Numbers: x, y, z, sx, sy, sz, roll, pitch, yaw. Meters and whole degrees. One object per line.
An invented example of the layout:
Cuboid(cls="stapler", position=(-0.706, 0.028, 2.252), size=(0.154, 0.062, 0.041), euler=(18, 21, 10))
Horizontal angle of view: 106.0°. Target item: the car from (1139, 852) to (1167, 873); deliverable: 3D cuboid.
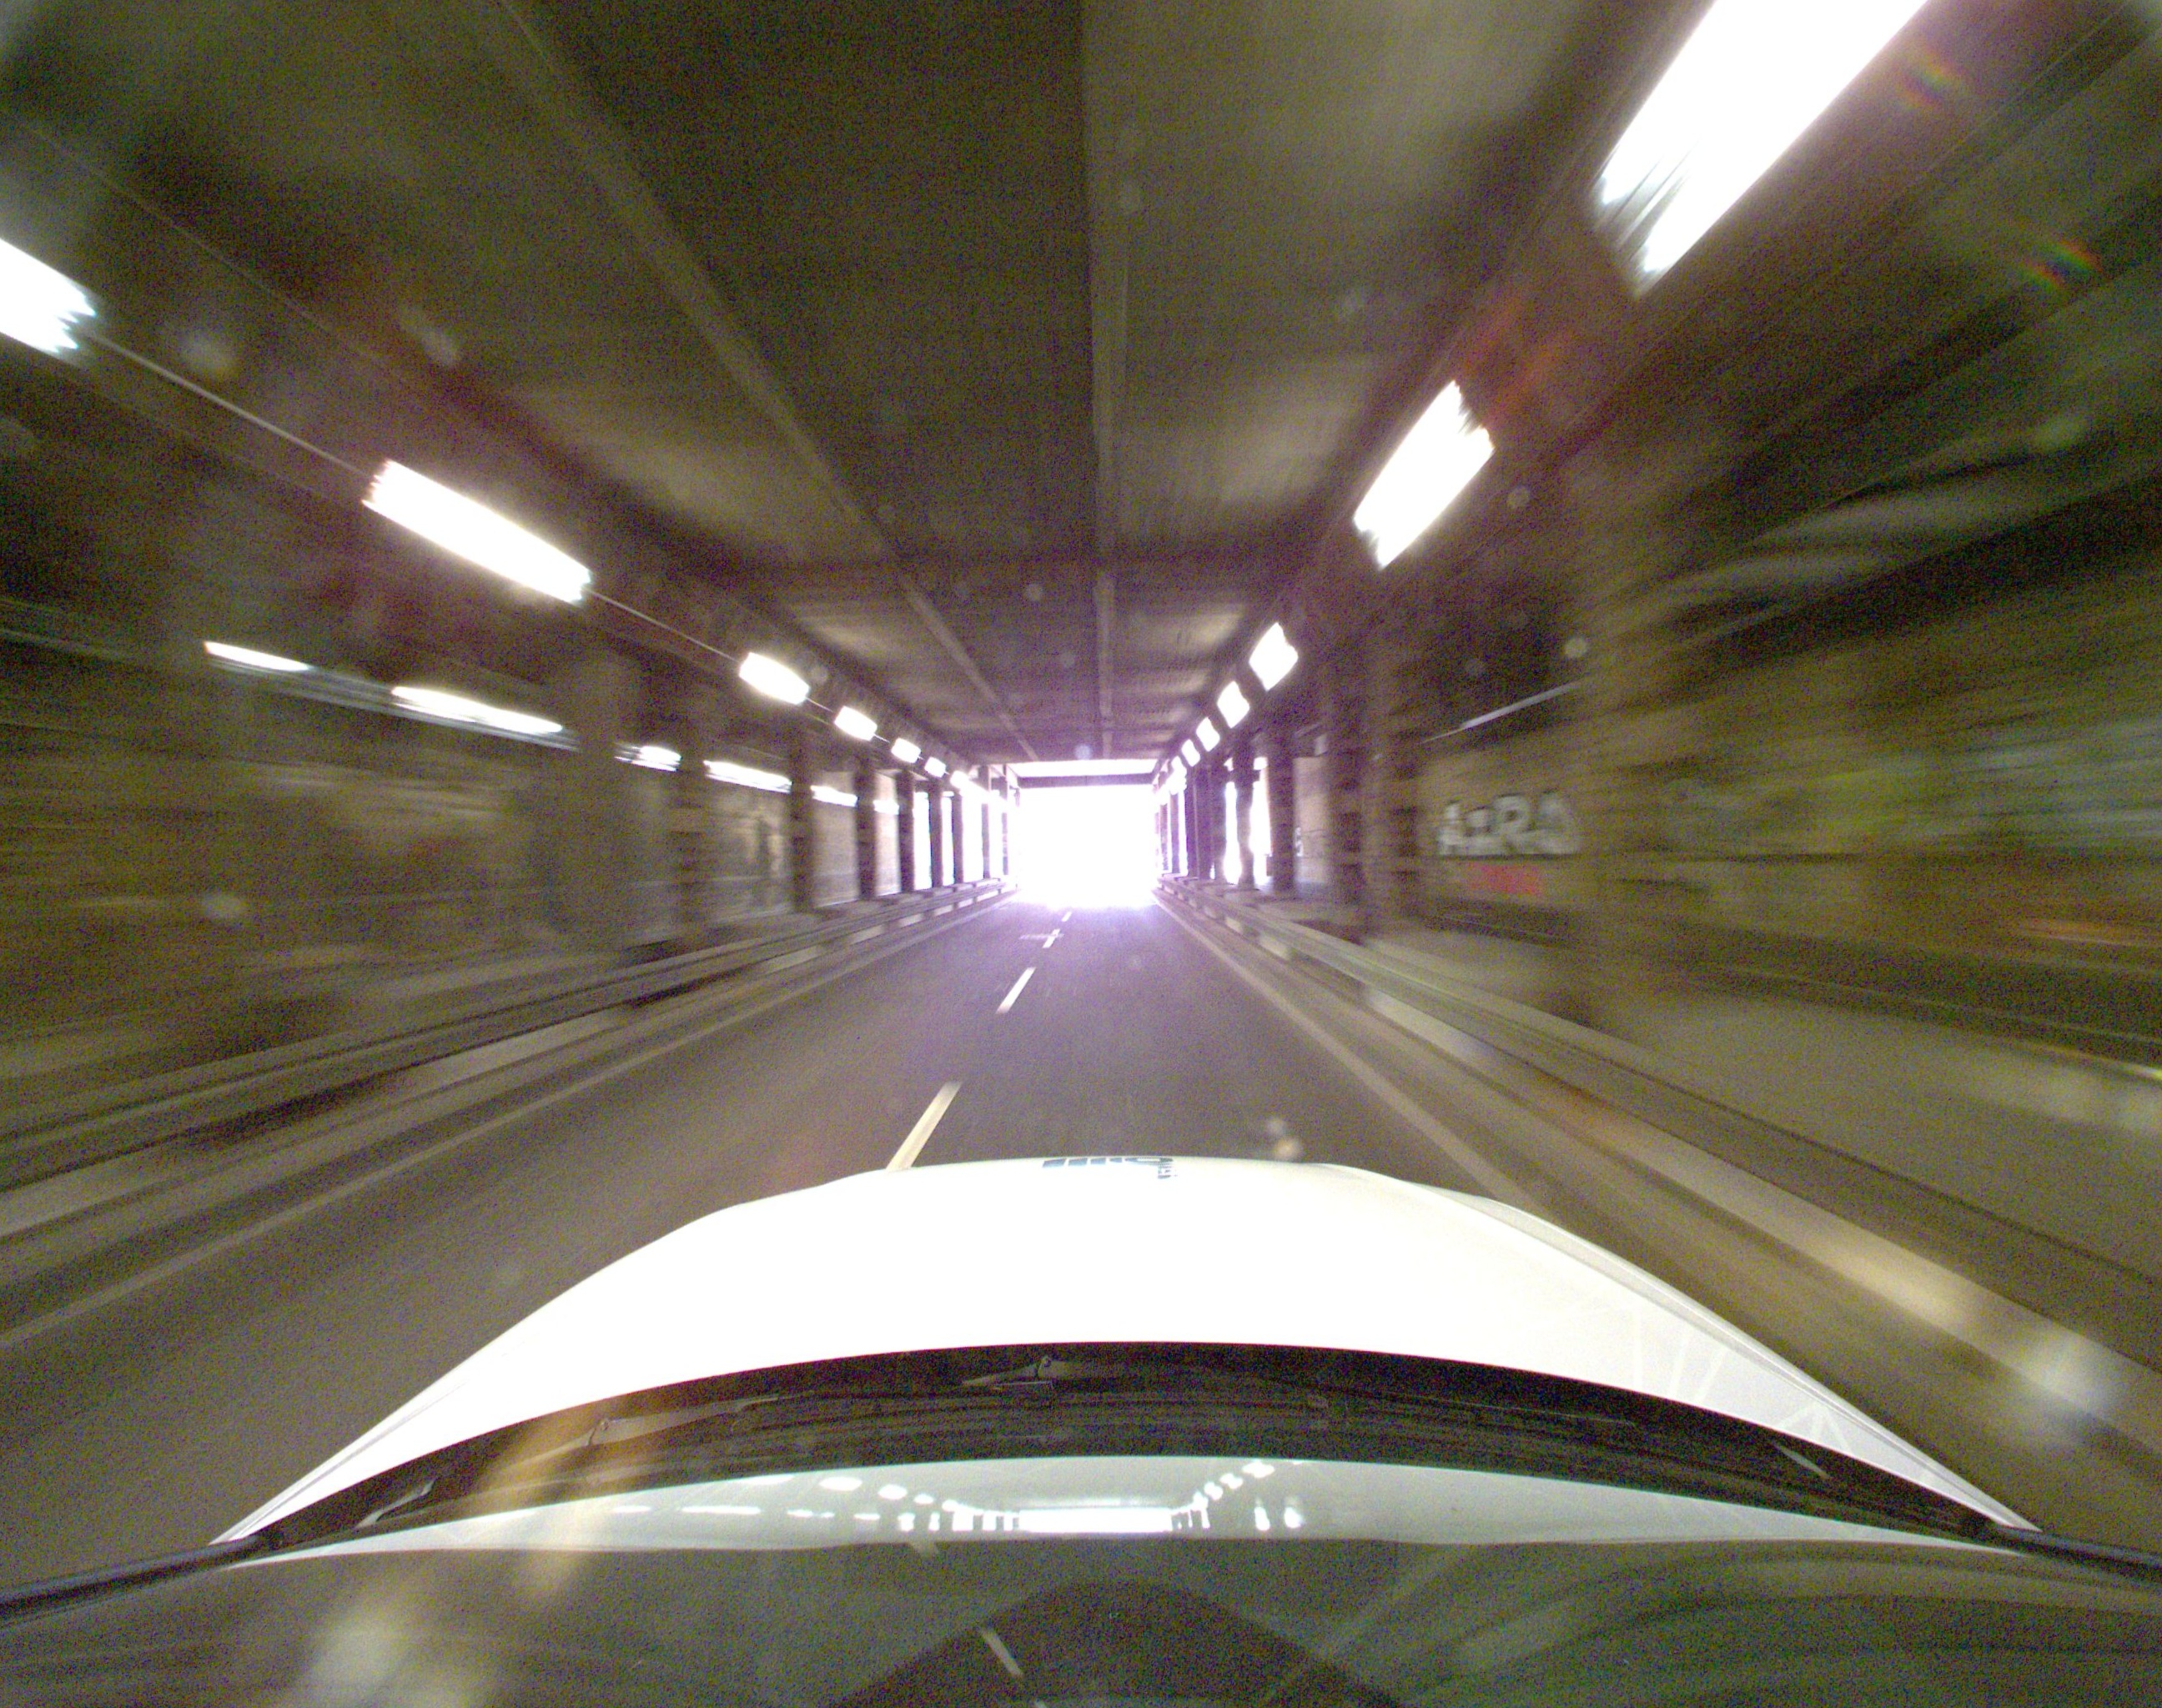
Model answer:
Cuboid(cls="car", position=(5.581, 0.665, 63.569), size=(1.940, 1.528, 4.092), euler=(-2, 0, 2))

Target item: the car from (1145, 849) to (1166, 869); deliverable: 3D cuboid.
Cuboid(cls="car", position=(7.981, 0.523, 87.168), size=(2.161, 2.009, 4.815), euler=(-2, -1, 5))

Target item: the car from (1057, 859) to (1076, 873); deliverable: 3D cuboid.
Cuboid(cls="car", position=(-1.582, 1.304, 90.741), size=(1.745, 1.405, 4.419), euler=(-2, 0, 3))

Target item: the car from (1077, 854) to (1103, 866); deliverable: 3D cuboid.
Cuboid(cls="car", position=(1.297, 0.862, 112.952), size=(1.906, 1.574, 3.904), euler=(-2, 0, 28))

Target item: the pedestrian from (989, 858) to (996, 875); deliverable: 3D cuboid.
Cuboid(cls="pedestrian", position=(-8.734, 1.269, 80.453), size=(0.516, 1.640, 0.620), euler=(-1, -1, -25))

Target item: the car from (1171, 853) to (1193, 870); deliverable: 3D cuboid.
Cuboid(cls="car", position=(9.935, 0.721, 79.967), size=(1.803, 1.582, 4.012), euler=(-2, -1, 10))

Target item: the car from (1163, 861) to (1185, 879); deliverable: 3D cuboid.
Cuboid(cls="car", position=(8.467, 1.427, 74.150), size=(1.720, 1.500, 4.011), euler=(-2, 0, 10))

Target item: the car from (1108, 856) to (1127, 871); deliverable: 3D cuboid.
Cuboid(cls="car", position=(3.697, 0.925, 82.407), size=(1.779, 1.394, 4.109), euler=(-2, 0, 3))
